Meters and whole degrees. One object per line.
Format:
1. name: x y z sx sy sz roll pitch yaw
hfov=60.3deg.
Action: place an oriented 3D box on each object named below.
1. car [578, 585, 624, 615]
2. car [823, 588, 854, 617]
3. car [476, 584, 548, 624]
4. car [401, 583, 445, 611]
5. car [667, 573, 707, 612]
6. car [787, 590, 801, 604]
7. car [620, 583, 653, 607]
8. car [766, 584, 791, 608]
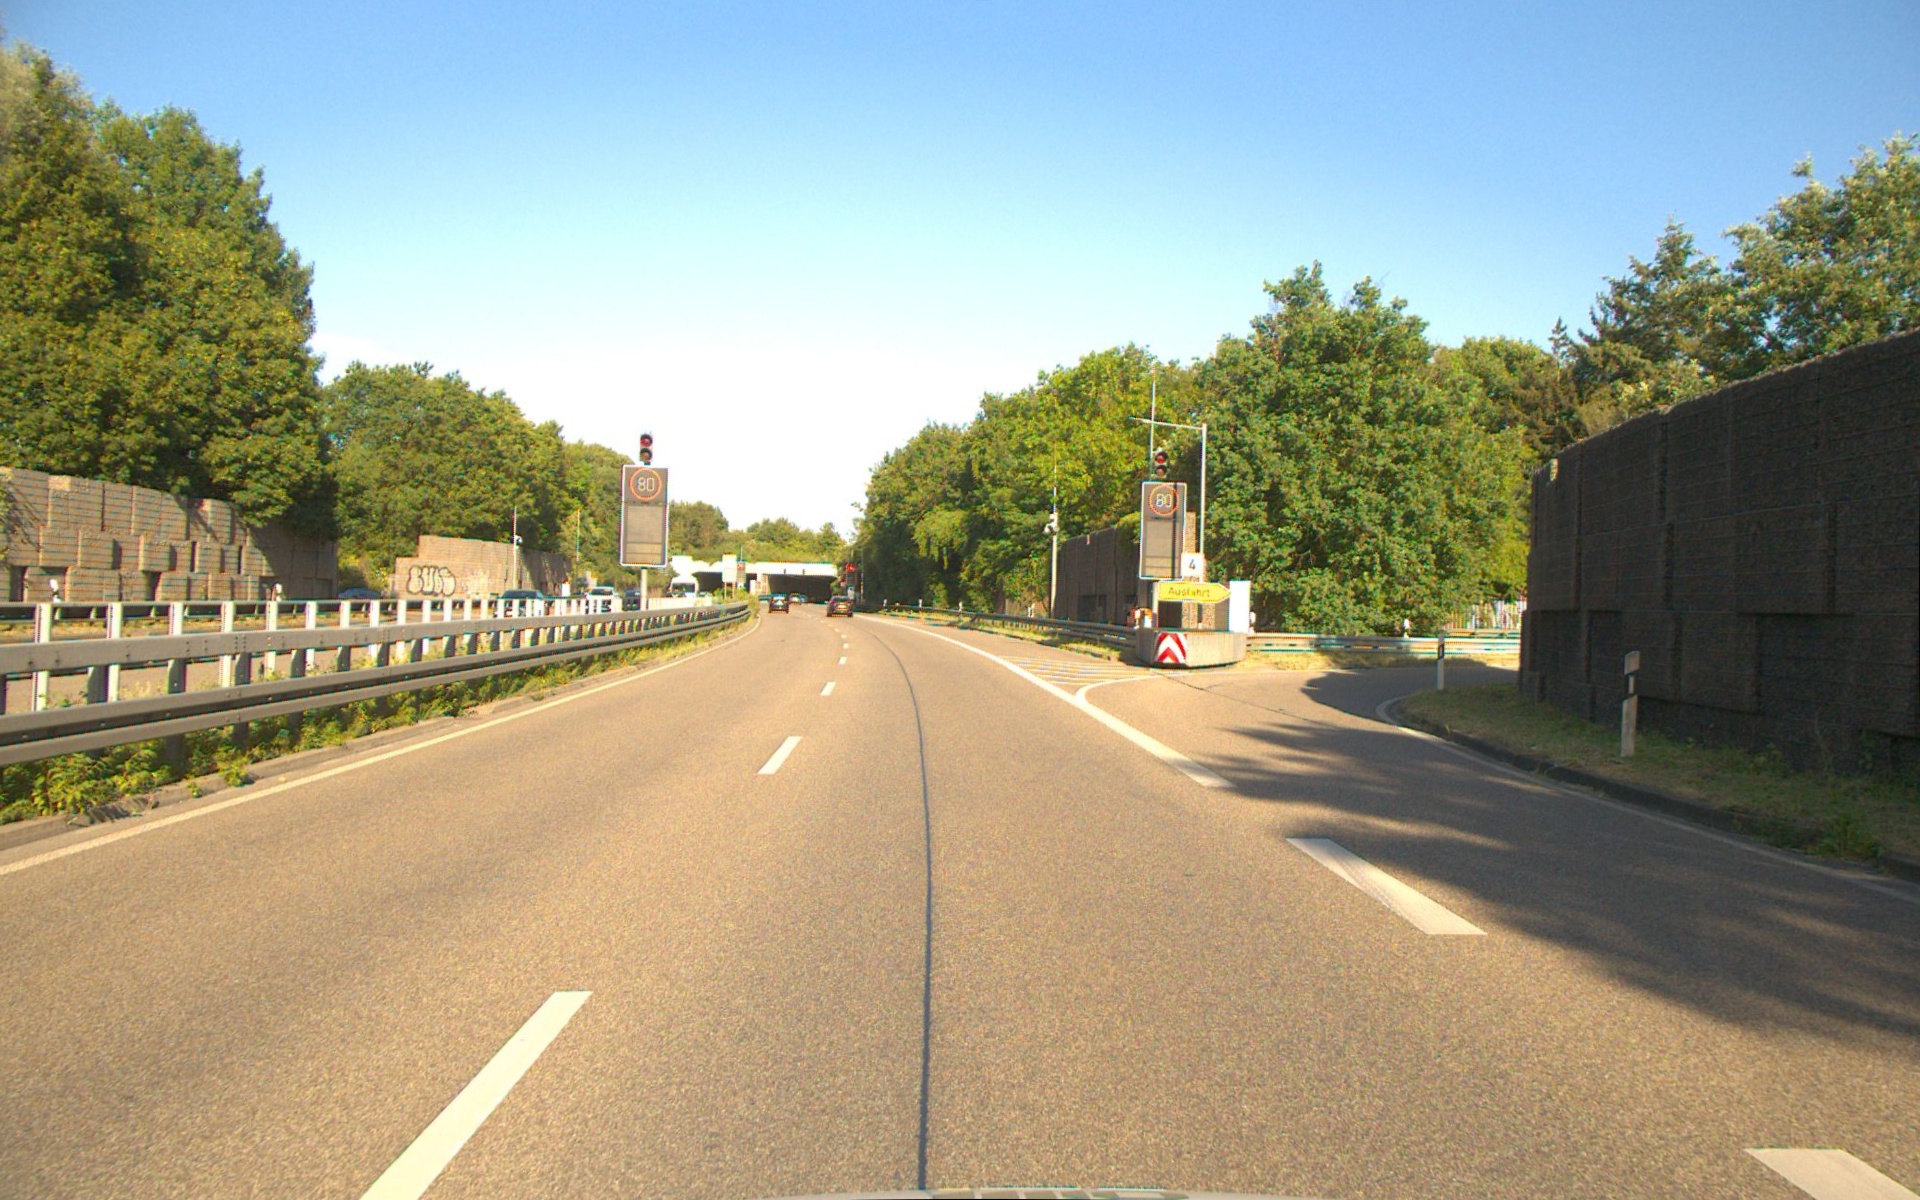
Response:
1. car: -21.944 -0.021 101.291 1.954 1.623 4.618 3 1 -4
2. car: -8.824 0.168 119.547 1.956 1.959 3.993 2 0 -8
3. car: -18.699 0.148 69.229 1.954 1.506 4.531 3 1 -4
4. car: -30.712 -0.198 94.634 1.959 1.412 4.016 3 1 -13
5. car: -20.168 -0.575 122.326 2.079 2.730 6.583 3 1 -4
6. car: -24.957 -0.428 248.476 1.956 1.959 3.993 2 0 -8
7. car: -24.801 -0.403 126.978 1.865 1.648 4.691 3 1 -5
8. car: -15.602 -0.384 142.170 1.956 1.959 3.993 2 0 -8
